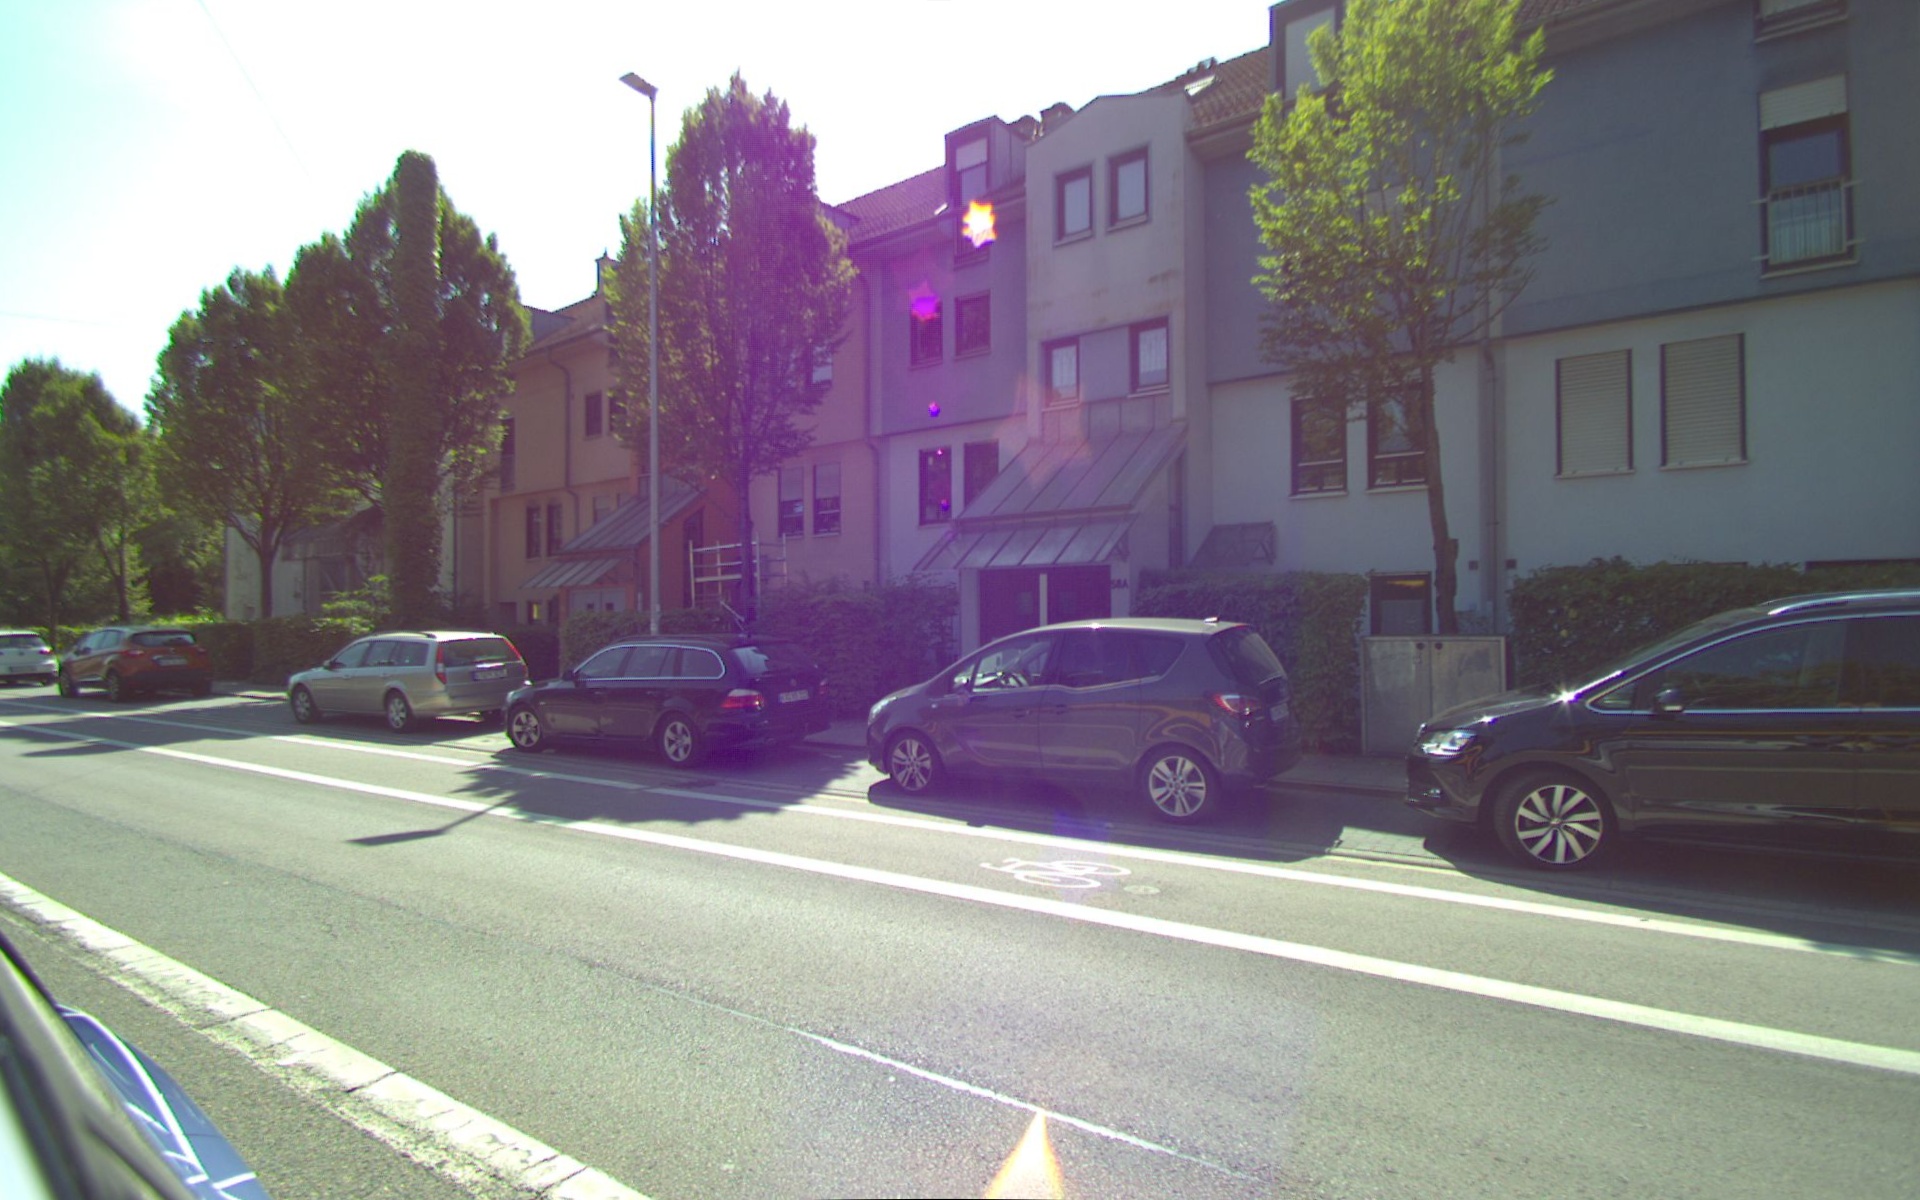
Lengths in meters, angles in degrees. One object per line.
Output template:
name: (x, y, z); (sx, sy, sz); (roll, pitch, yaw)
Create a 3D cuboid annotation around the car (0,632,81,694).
car: (-24.736, 1.589, 26.173); (4.264, 1.440, 1.745); (-1, 0, 30)

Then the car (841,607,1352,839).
car: (1.117, 0.937, 9.236); (4.301, 1.637, 1.703); (-1, 0, 34)

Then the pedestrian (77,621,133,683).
pedestrian: (-24.049, 1.441, 28.469); (1.051, 1.703, 0.869); (-1, -2, 30)

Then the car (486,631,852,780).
car: (-3.724, 1.171, 12.617); (4.700, 1.485, 1.709); (-1, 0, 33)

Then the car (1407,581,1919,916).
car: (5.459, 0.773, 6.063); (4.855, 1.736, 1.755); (-1, 0, 33)

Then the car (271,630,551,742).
car: (-8.913, 1.275, 16.307); (4.839, 1.495, 1.768); (-1, 0, 31)

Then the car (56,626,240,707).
car: (-17.613, 1.382, 21.902); (4.302, 1.563, 1.718); (-1, 0, 31)
